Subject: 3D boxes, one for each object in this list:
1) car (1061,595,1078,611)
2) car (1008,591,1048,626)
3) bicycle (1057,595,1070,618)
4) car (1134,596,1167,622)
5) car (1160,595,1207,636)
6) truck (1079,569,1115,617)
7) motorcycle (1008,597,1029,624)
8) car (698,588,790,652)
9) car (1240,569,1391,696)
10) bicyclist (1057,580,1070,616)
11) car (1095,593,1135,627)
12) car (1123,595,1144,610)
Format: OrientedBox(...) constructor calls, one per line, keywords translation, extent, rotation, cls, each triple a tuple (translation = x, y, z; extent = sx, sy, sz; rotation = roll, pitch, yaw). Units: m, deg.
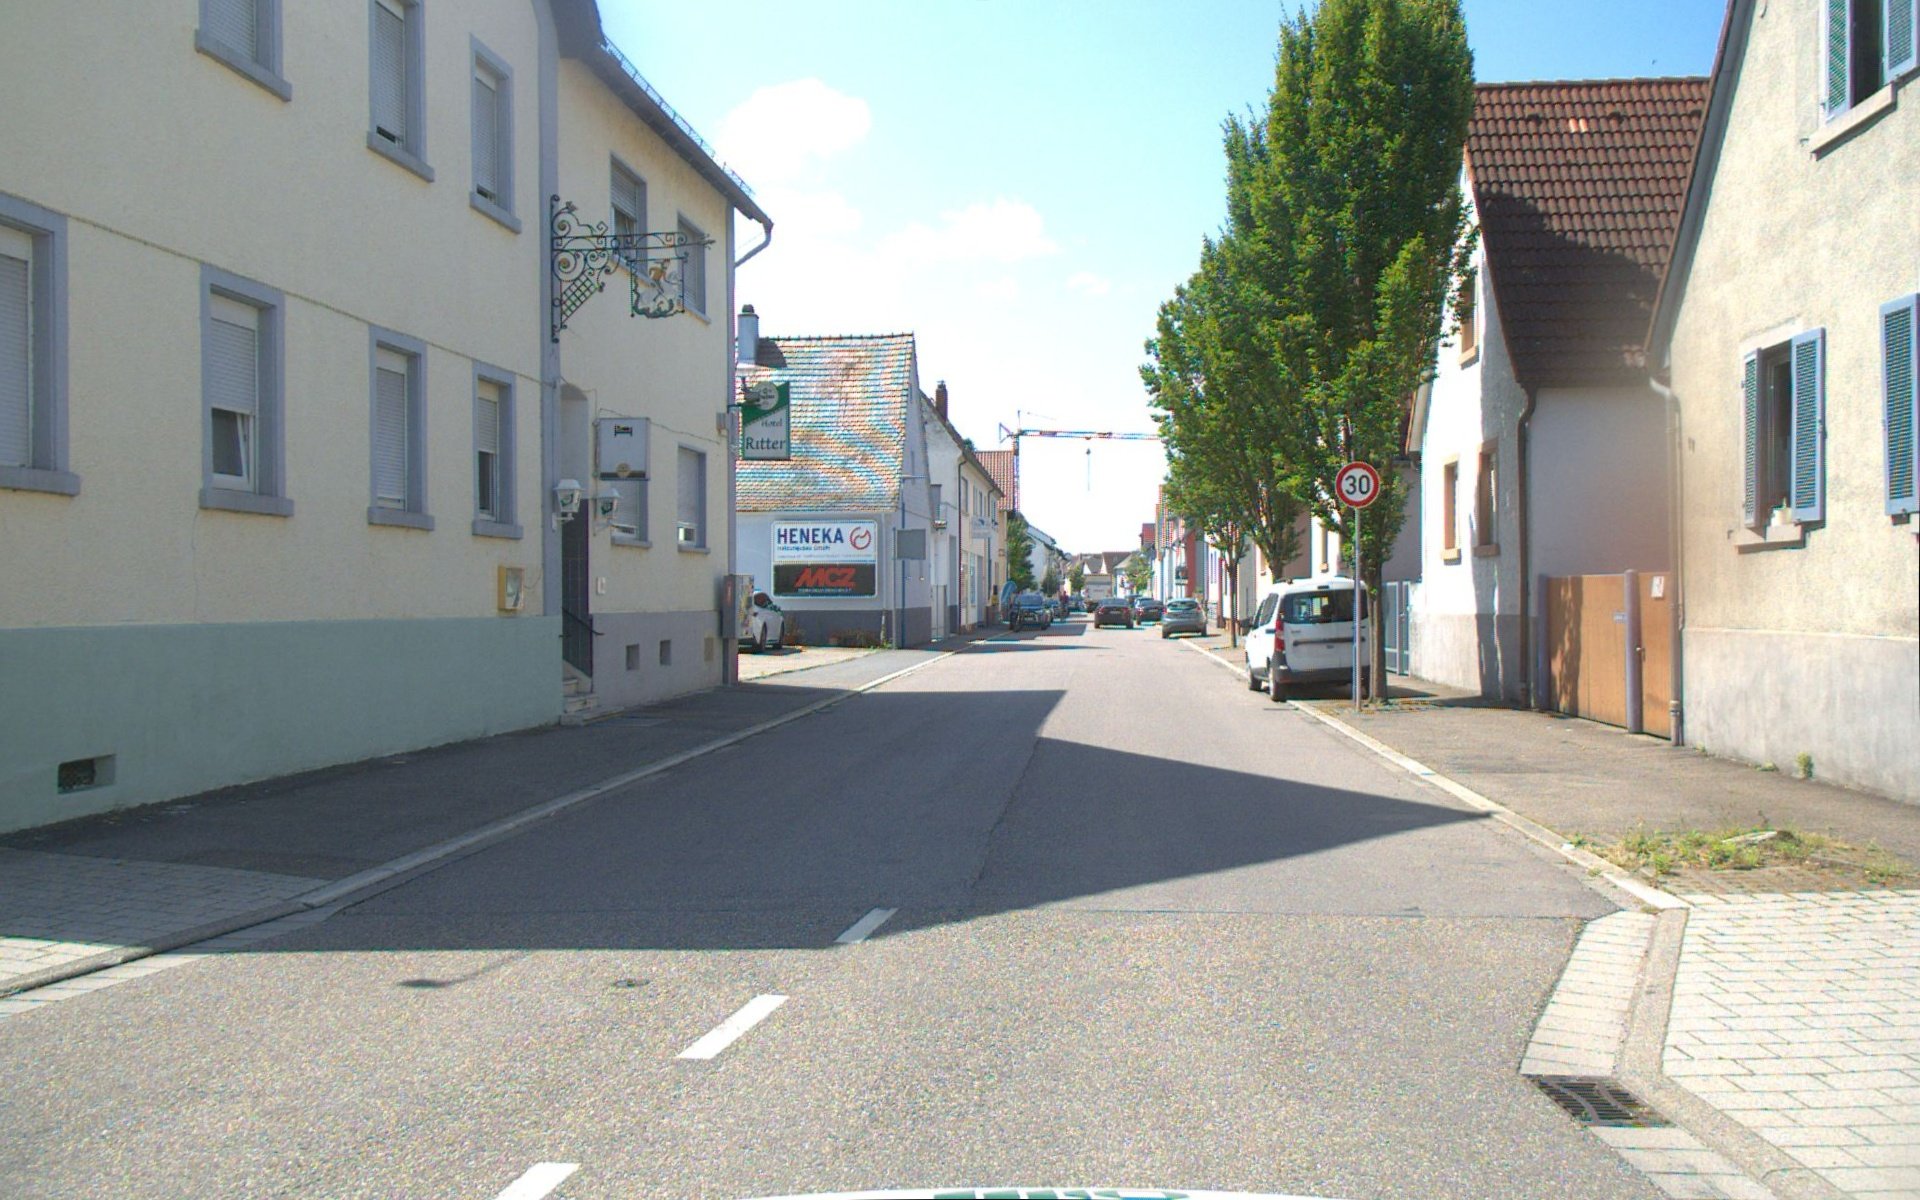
OrientedBox(translation=(11.453, 0.286, 173.106), extent=(1.771, 1.617, 4.002), rotation=(0, 0, 4), cls="car")
OrientedBox(translation=(3.237, 0.396, 78.109), extent=(1.771, 1.617, 4.002), rotation=(0, 0, 4), cls="car")
OrientedBox(translation=(6.145, 0.375, 98.159), extent=(0.735, 1.331, 2.686), rotation=(1, 0, 4), cls="bicycle")
OrientedBox(translation=(10.508, 0.465, 91.452), extent=(1.683, 1.379, 4.159), rotation=(0, 0, 5), cls="car")
OrientedBox(translation=(8.527, 0.576, 63.244), extent=(1.683, 1.487, 4.159), rotation=(0, 0, 6), cls="car")
OrientedBox(translation=(12.905, -0.590, 155.519), extent=(3.078, 4.325, 9.308), rotation=(1, 0, 6), cls="truck")
OrientedBox(translation=(2.631, 0.476, 74.196), extent=(0.828, 1.190, 2.470), rotation=(1, 0, 3), cls="motorcycle")
OrientedBox(translation=(-5.698, 0.503, 44.056), extent=(1.683, 1.583, 4.200), rotation=(1, 0, 3), cls="car")
OrientedBox(translation=(5.619, 0.474, 26.578), extent=(1.683, 1.821, 4.145), rotation=(-2, 0, 3), cls="car")
OrientedBox(translation=(6.151, -0.109, 98.097), extent=(0.724, 2.095, 0.845), rotation=(1, 0, 4), cls="bicyclist")
OrientedBox(translation=(7.446, 0.455, 79.418), extent=(1.862, 1.591, 4.479), rotation=(0, 0, 6), cls="car")
OrientedBox(translation=(14.729, 0.197, 140.680), extent=(1.683, 1.291, 4.159), rotation=(0, 0, 5), cls="car")
